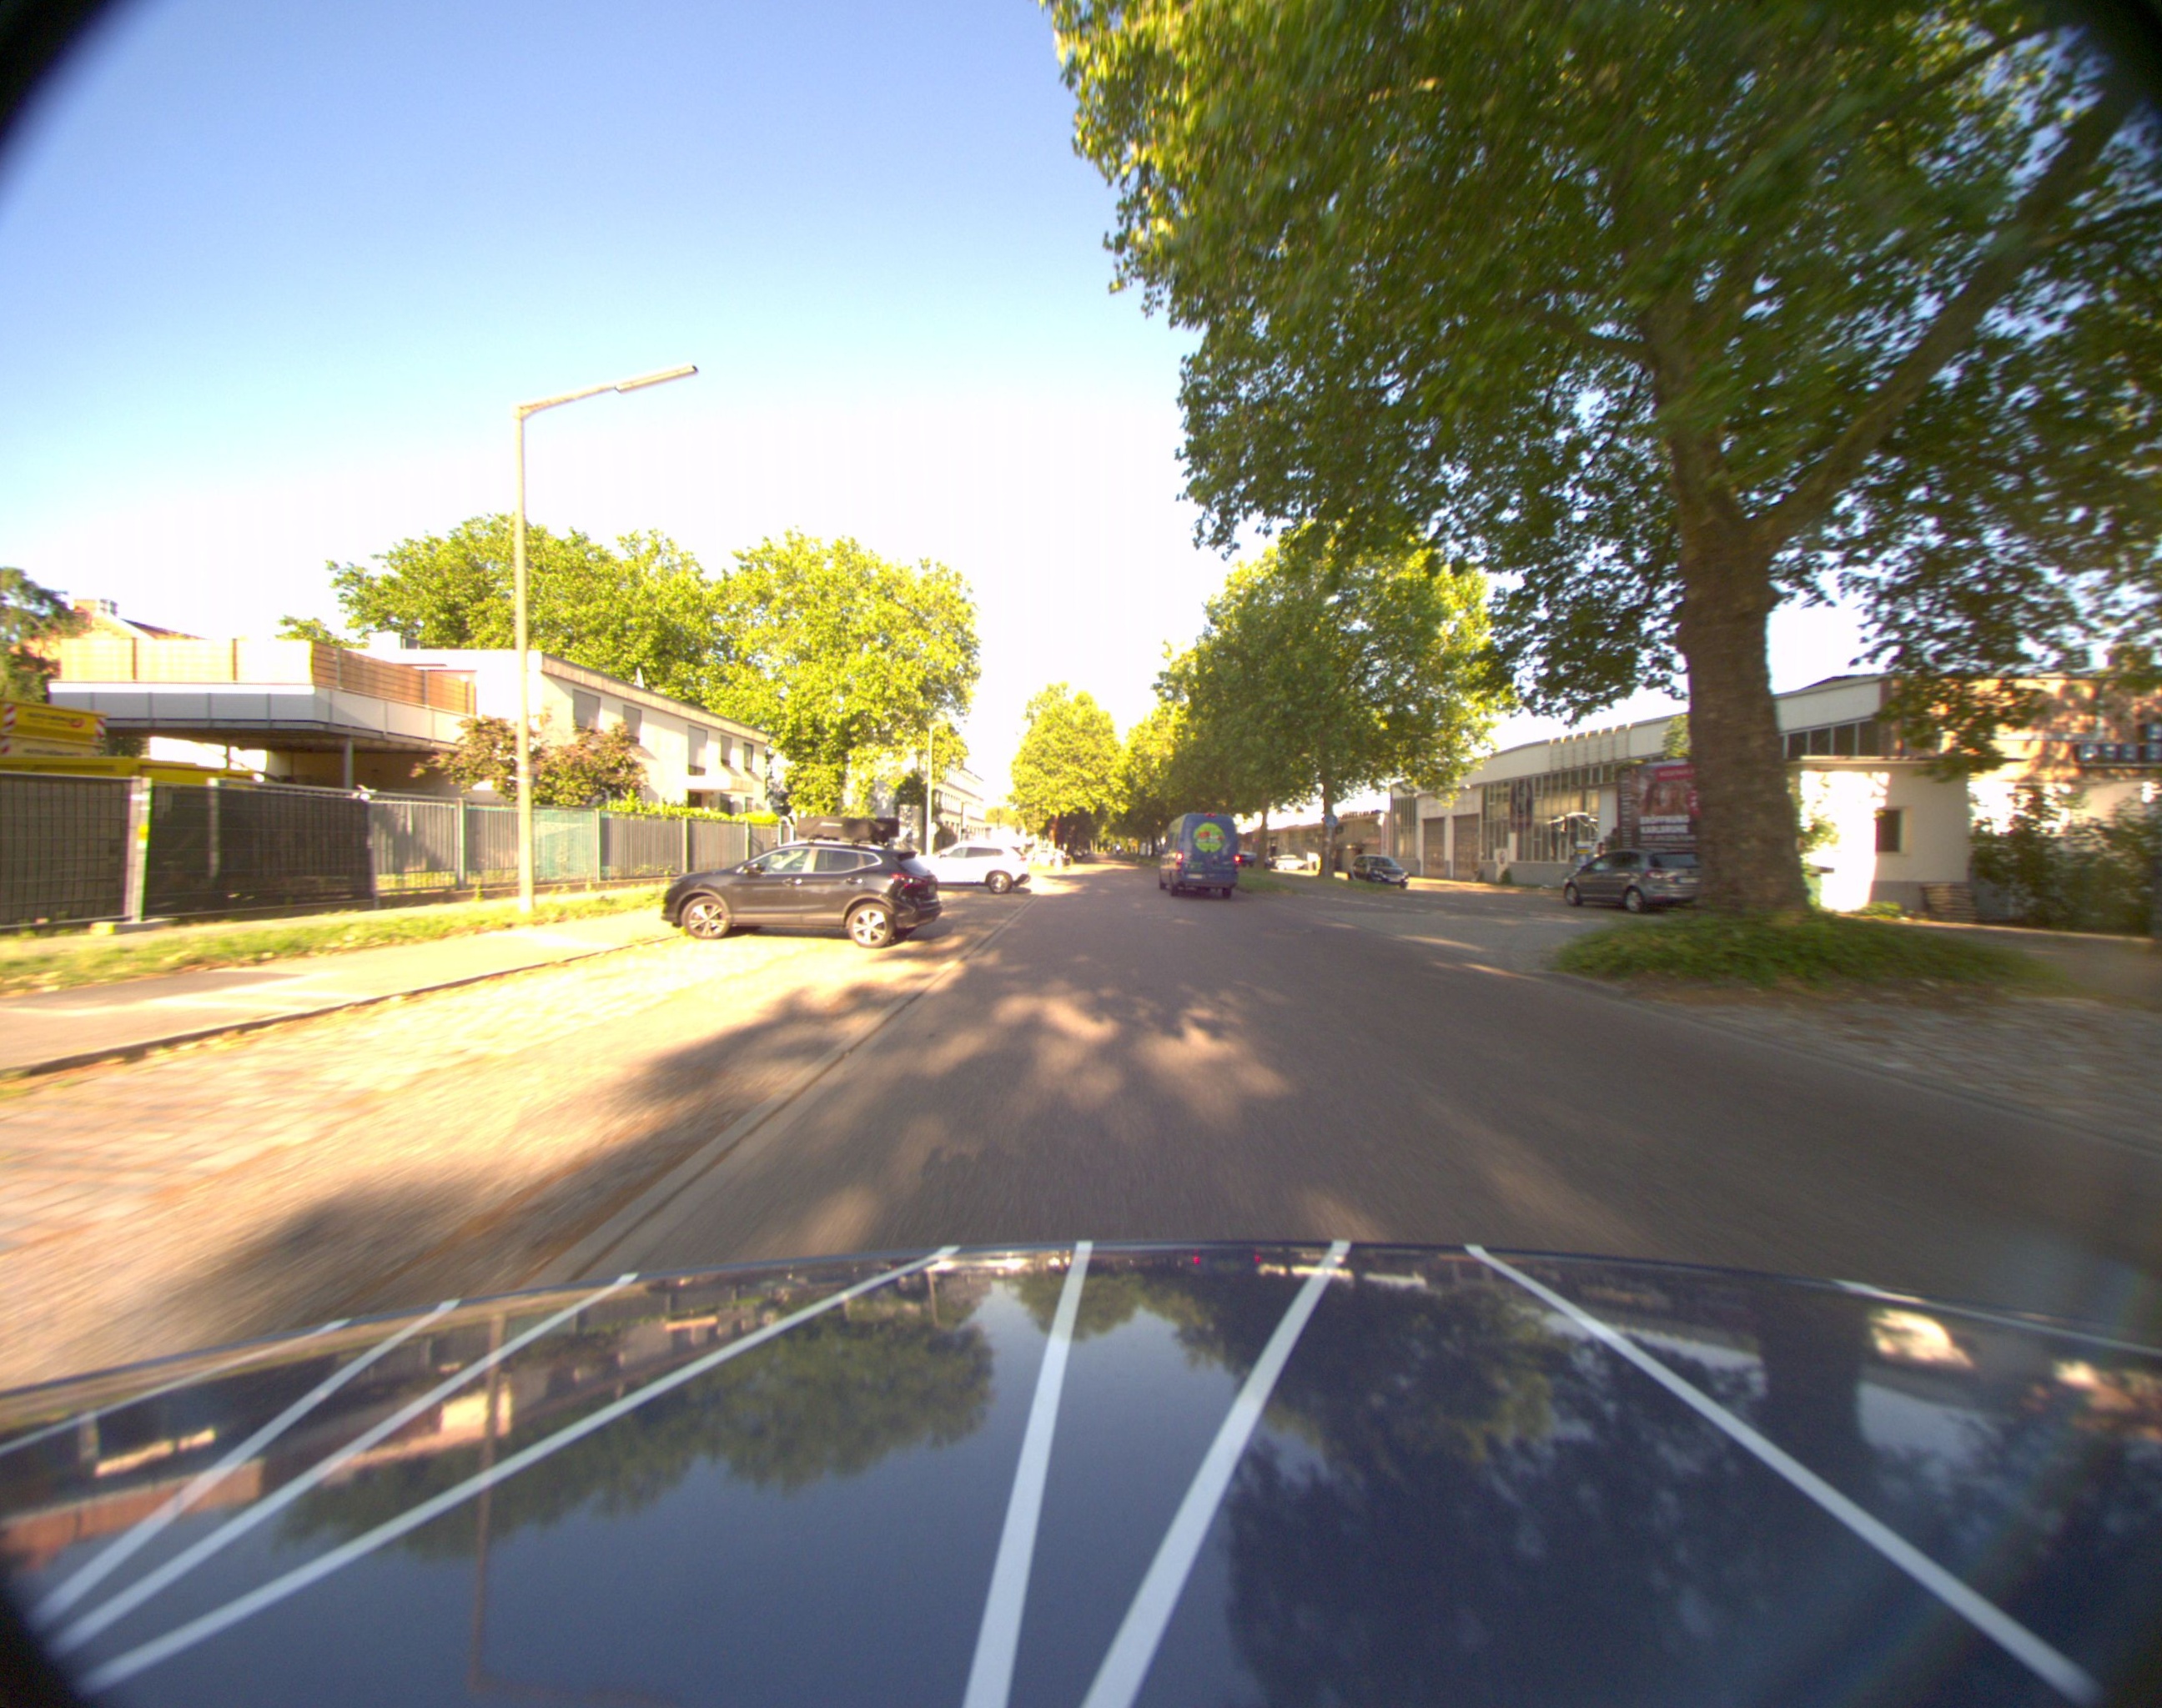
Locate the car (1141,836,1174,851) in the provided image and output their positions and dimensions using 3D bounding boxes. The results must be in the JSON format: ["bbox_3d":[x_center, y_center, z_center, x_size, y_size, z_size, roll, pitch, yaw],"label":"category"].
[{"bbox_3d":[17.379,-2.394,173.003,6.971,2.836,2.595,3,-1,-27],"label":"car"}]

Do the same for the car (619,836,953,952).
[{"bbox_3d":[-4.613,0.582,12.435,4.636,1.518,1.999,3,2,-1],"label":"car"}]

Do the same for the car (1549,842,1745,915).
[{"bbox_3d":[14.252,0.533,19.505,1.998,1.567,4.273,-2,1,3],"label":"car"}]

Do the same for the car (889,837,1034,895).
[{"bbox_3d":[-4.036,0.383,26.219,4.636,1.702,1.999,3,2,-1],"label":"car"}]

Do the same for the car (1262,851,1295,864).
[{"bbox_3d":[23.197,0.423,89.174,3.288,1.399,1.712,0,2,39],"label":"car"}]

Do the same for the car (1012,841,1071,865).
[{"bbox_3d":[-3.146,-0.079,60.466,4.582,1.706,1.942,2,1,-2],"label":"car"}]

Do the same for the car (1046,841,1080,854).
[{"bbox_3d":[-2.315,-0.841,97.478,4.295,1.478,1.860,4,2,-1],"label":"car"}]

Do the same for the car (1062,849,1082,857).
[{"bbox_3d":[-1.726,-0.180,150.996,3.944,1.505,1.666,2,2,1],"label":"car"}]

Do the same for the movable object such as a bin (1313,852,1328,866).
[{"bbox_3d":[25.450,0.538,80.818,1.059,1.423,1.573,-2,2,-1],"label":"movable object such as a bin"}]

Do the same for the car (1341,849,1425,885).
[{"bbox_3d":[13.684,0.544,34.680,1.999,1.362,3.918,4,1,-3],"label":"car"}]

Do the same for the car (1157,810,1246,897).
[{"bbox_3d":[4.003,-0.049,26.651,2.133,2.644,7.001,0,0,1],"label":"car"}]
